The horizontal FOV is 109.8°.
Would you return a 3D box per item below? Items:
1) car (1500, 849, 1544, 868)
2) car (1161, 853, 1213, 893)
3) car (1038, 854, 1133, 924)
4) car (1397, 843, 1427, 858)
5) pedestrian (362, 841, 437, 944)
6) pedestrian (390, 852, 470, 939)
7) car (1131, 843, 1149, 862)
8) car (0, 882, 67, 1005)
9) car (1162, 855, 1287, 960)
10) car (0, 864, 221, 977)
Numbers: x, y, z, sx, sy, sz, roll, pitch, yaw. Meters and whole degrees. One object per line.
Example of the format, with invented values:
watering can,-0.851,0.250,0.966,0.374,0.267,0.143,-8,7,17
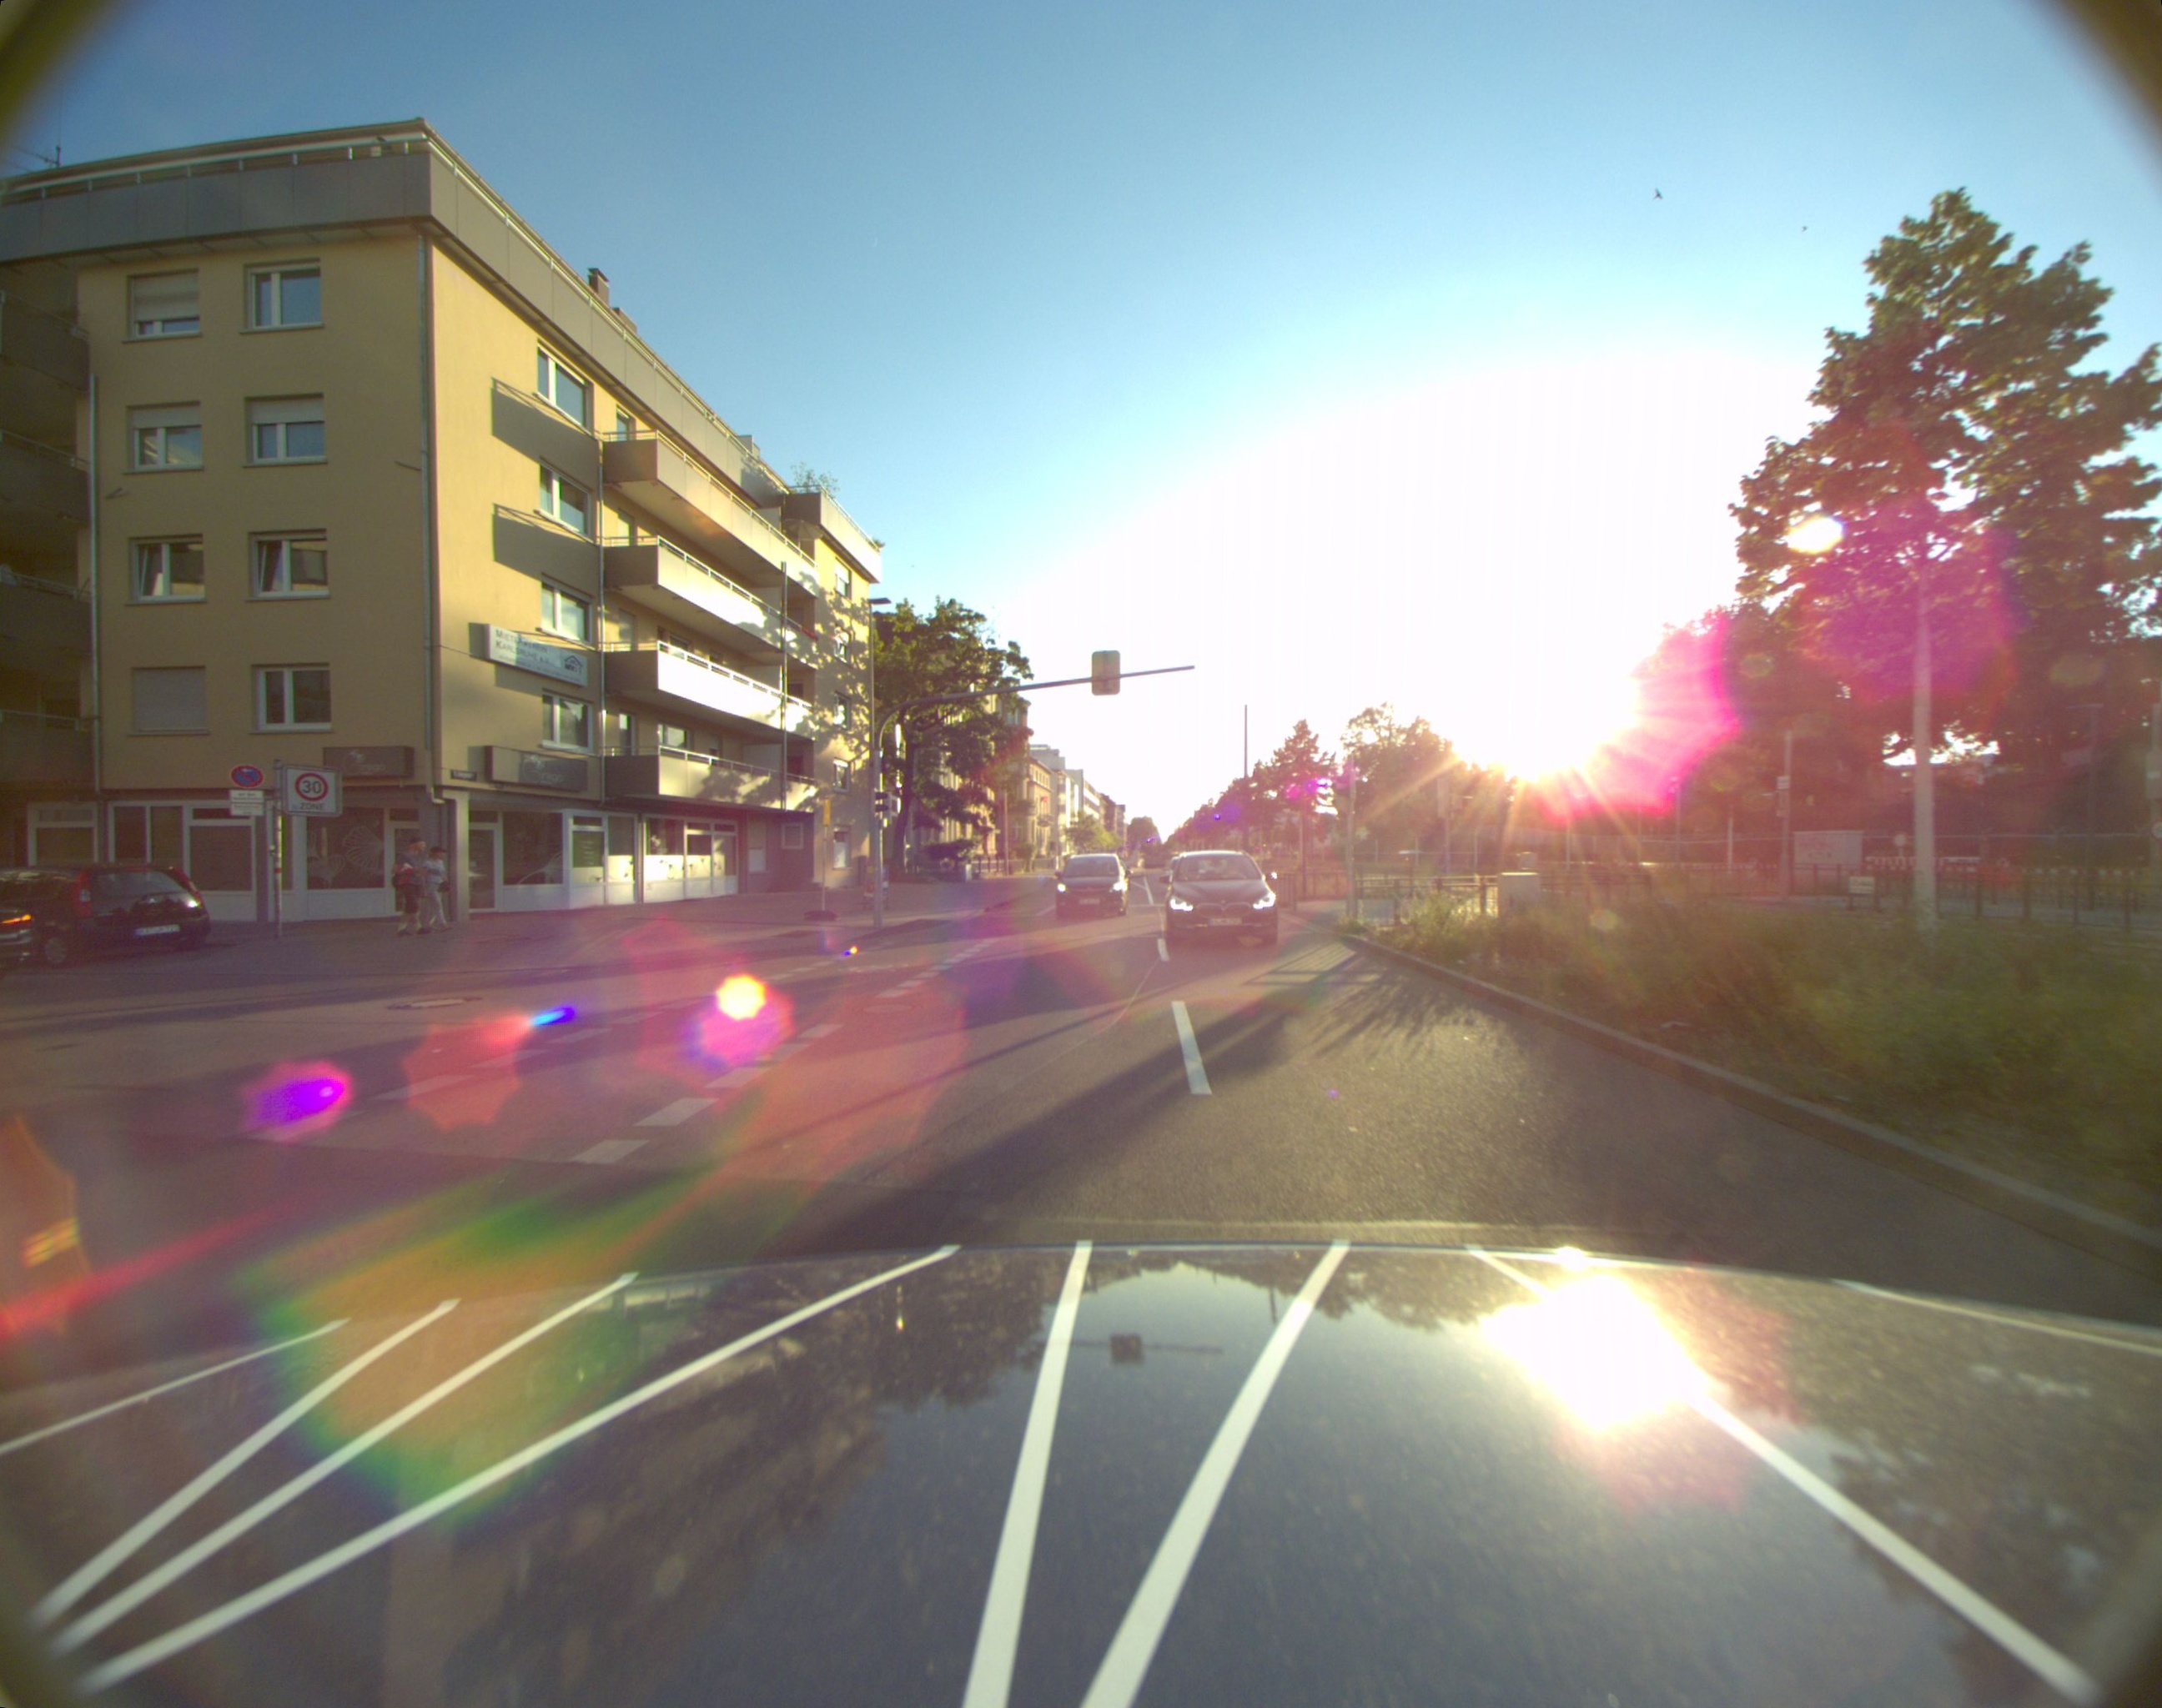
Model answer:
car,34.633,0.356,59.809,1.695,1.362,3.696,-2,0,8
car,4.197,0.712,30.628,1.832,1.455,4.305,-2,0,5
car,0.253,0.825,19.916,1.826,1.589,4.370,-2,0,8
car,35.891,-0.364,82.429,1.848,1.551,3.802,-2,0,6
pedestrian,-12.422,0.684,13.862,0.839,1.849,0.544,0,2,6
pedestrian,-12.465,0.772,14.567,0.821,1.606,0.767,0,2,7
car,6.429,-0.160,83.079,1.726,1.909,4.295,-2,0,2
car,-15.220,1.078,8.808,4.618,1.460,1.807,0,-1,2
car,2.486,0.824,13.892,1.824,1.510,4.794,-2,0,8
car,-16.477,0.986,12.136,3.811,1.552,1.615,0,4,6
